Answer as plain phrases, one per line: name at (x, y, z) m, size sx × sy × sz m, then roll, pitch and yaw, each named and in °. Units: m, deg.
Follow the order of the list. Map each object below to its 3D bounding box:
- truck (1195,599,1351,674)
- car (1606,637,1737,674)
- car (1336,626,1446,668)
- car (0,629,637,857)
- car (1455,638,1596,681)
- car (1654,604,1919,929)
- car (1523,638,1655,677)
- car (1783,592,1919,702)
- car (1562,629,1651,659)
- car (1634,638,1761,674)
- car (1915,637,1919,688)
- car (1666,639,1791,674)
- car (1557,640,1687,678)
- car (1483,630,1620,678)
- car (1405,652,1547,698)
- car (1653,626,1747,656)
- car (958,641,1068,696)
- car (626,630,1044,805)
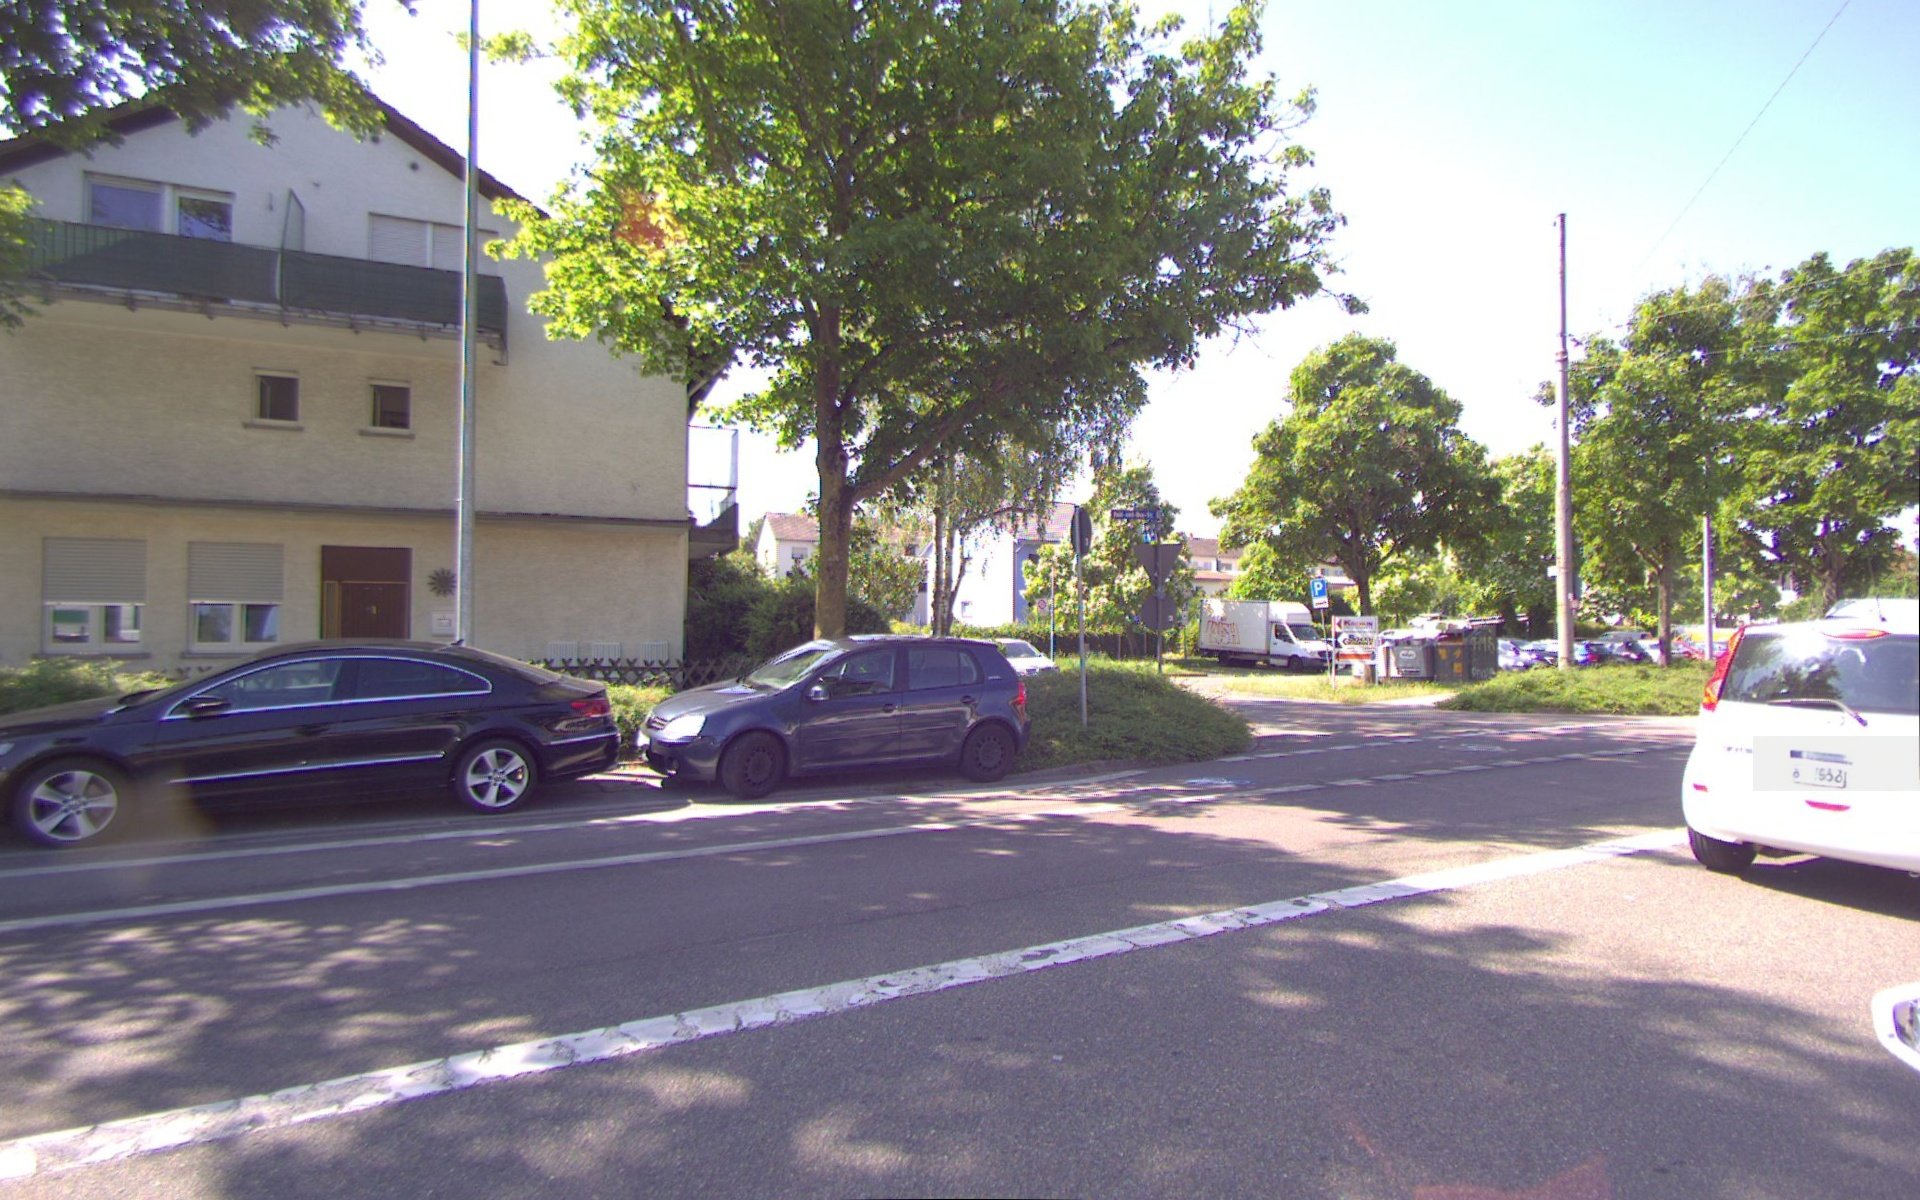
truck at (14.419, 1.584, 46.835) m, size 2.646 × 3.151 × 6.967 m, roll 1°, pitch 0°, yaw -30°
car at (28.781, 2.247, 40.745) m, size 1.712 × 1.434 × 3.964 m, roll 2°, pitch -4°, yaw -33°
car at (21.688, 2.329, 50.702) m, size 2.043 × 1.811 × 4.762 m, roll 2°, pitch 0°, yaw -34°
car at (-5.243, 1.005, 8.369) m, size 4.568 × 1.434 × 1.854 m, roll 1°, pitch 0°, yaw -31°
car at (19.697, 2.079, 35.120) m, size 1.712 × 1.434 × 3.964 m, roll 2°, pitch -4°, yaw -33°
car at (6.416, 0.847, 6.266) m, size 4.491 × 1.568 × 1.655 m, roll 1°, pitch -1°, yaw -29°
car at (24.161, 2.218, 38.729) m, size 1.712 × 1.434 × 3.964 m, roll 2°, pitch -4°, yaw -33°
car at (23.795, 1.146, 25.772) m, size 5.745 × 2.550 × 2.114 m, roll 1°, pitch 0°, yaw -29°
car at (44.537, 2.997, 69.266) m, size 2.043 × 1.811 × 4.762 m, roll 2°, pitch 0°, yaw -34°
car at (30.914, 2.346, 42.197) m, size 1.712 × 1.434 × 3.964 m, roll 2°, pitch -4°, yaw -33°
car at (29.351, 1.823, 28.745) m, size 4.230 × 1.434 × 1.854 m, roll 1°, pitch 0°, yaw -31°
car at (33.165, 2.452, 43.450) m, size 1.712 × 1.434 × 3.964 m, roll 2°, pitch -4°, yaw -33°
car at (26.353, 2.334, 40.093) m, size 1.712 × 1.434 × 3.964 m, roll 2°, pitch -4°, yaw -33°
car at (21.416, 1.976, 36.505) m, size 1.712 × 1.631 × 3.964 m, roll 2°, pitch -4°, yaw -33°
car at (17.325, 2.493, 33.896) m, size 1.712 × 1.434 × 3.964 m, roll 2°, pitch -4°, yaw -33°
car at (50.547, 2.781, 68.714) m, size 2.043 × 1.811 × 4.762 m, roll 2°, pitch 0°, yaw -34°
car at (1.413, 1.925, 28.438) m, size 1.704 × 1.434 × 3.983 m, roll 1°, pitch -3°, yaw -20°
car at (-1.271, 1.096, 10.480) m, size 3.988 × 1.462 × 1.718 m, roll 1°, pitch 0°, yaw -28°
